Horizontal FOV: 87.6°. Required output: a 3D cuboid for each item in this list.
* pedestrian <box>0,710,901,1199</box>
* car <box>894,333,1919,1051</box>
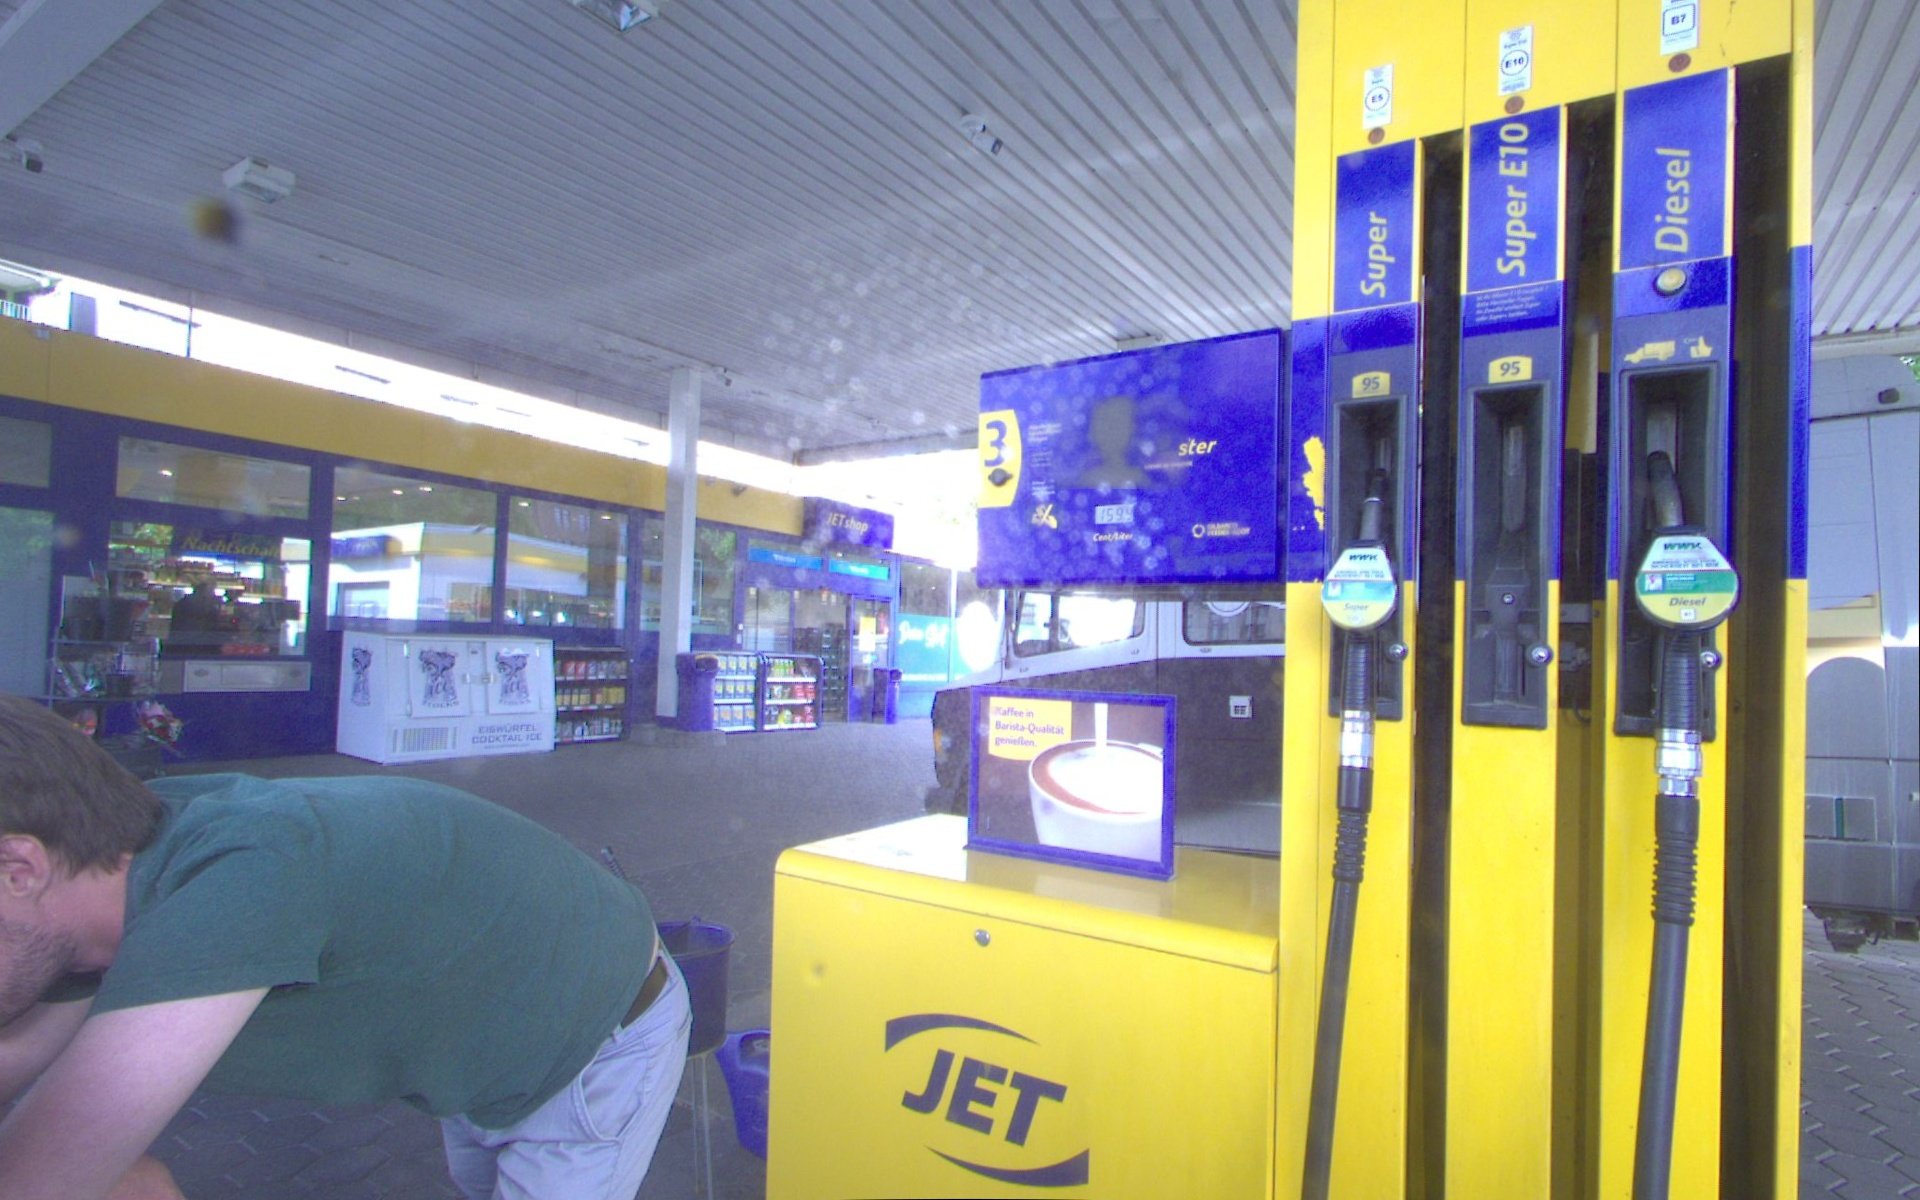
[{"bbox_3d":[-0.546,0.804,1.079,0.664,1.298,0.749,-1,-1,31],"label":"pedestrian"},{"bbox_3d":[2.377,0.408,6.024,5.219,2.724,2.250,0,-3,34],"label":"car"}]
